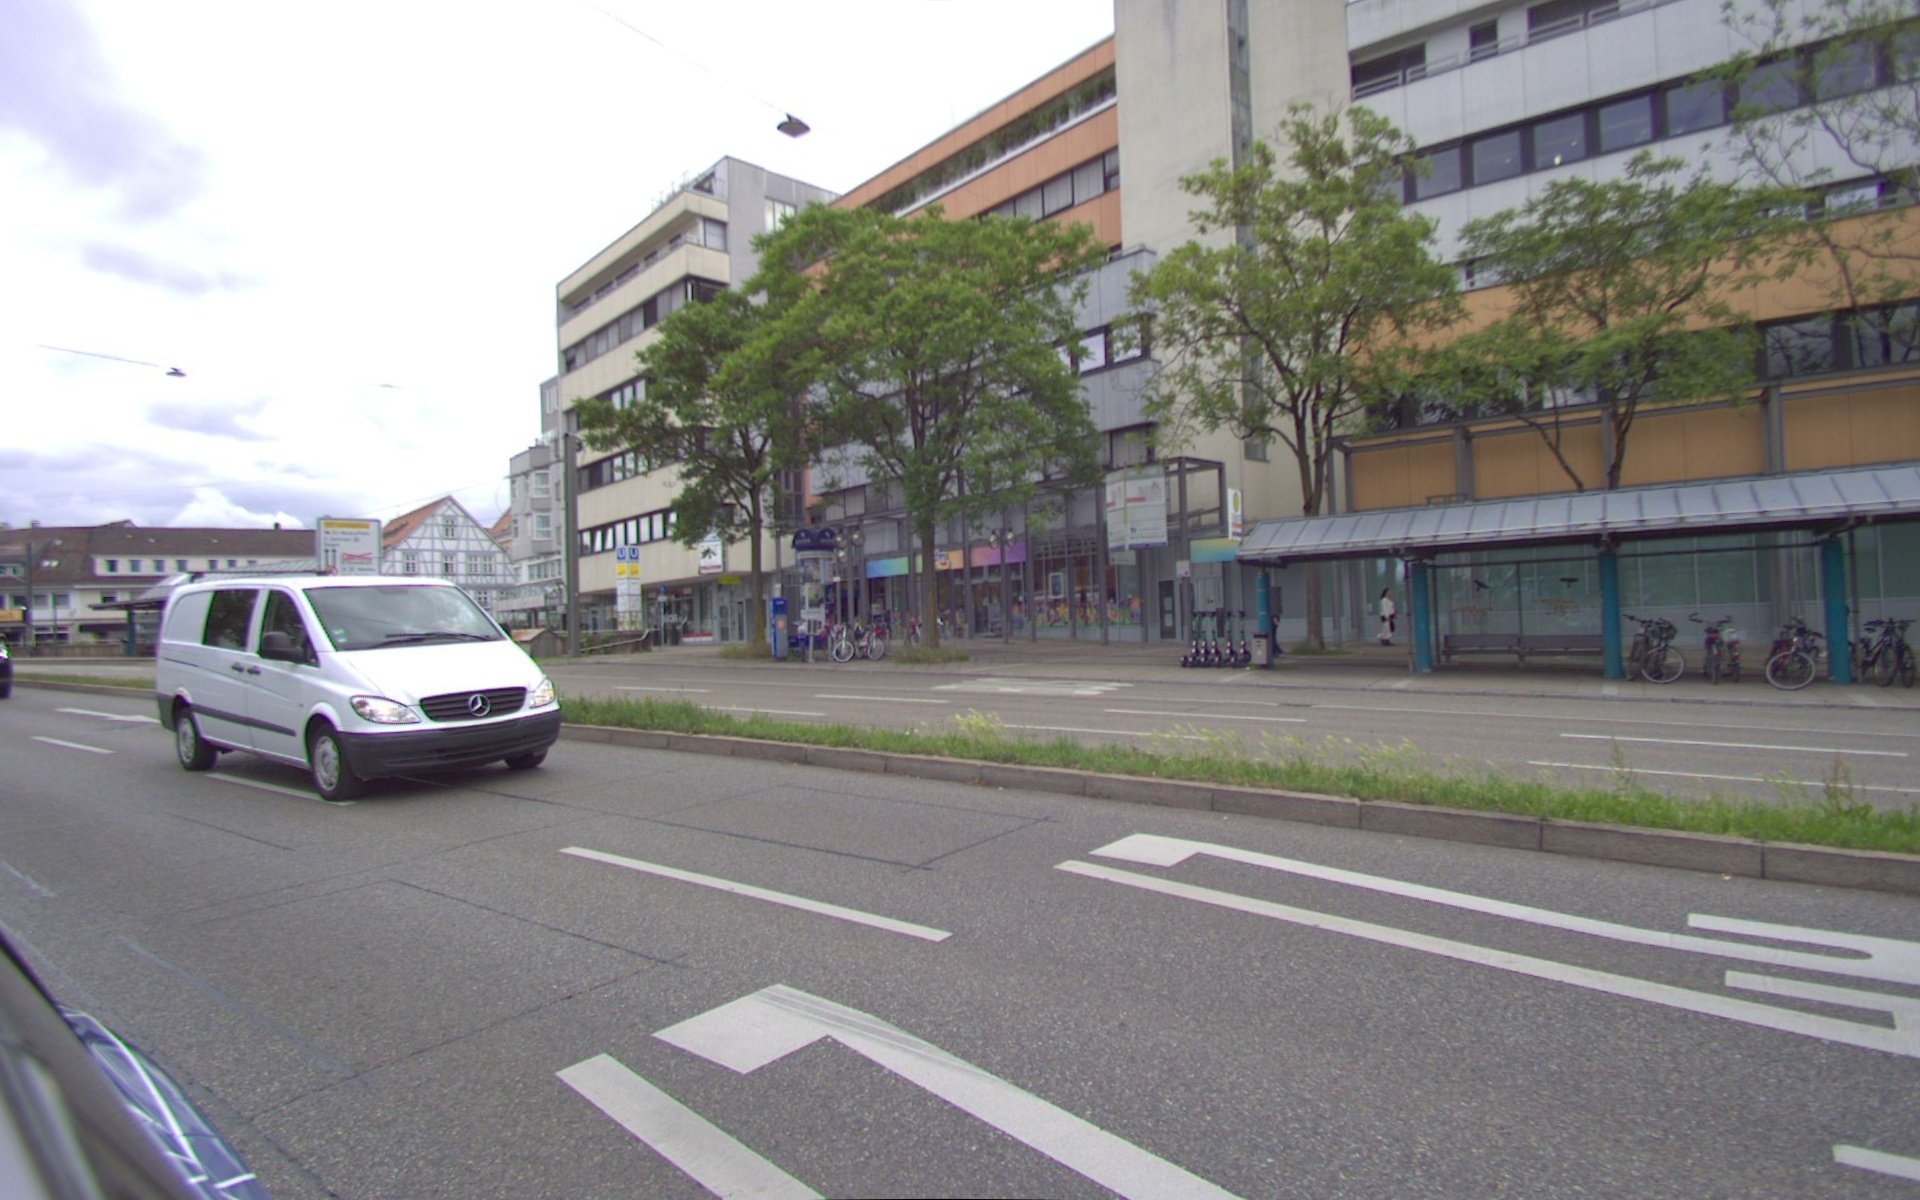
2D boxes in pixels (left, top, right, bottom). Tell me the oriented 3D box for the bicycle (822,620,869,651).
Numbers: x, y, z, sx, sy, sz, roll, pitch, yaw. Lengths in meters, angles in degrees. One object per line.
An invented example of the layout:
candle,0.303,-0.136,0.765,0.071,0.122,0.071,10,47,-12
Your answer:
bicycle,-5.127,1.570,45.311,1.941,1.329,0.707,0,-1,-34

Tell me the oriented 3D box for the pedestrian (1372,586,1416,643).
pedestrian,12.510,0.427,29.173,0.995,1.630,0.726,-2,-2,36

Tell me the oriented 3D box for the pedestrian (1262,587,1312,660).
pedestrian,8.238,0.582,25.487,0.995,1.795,0.726,-2,-2,36

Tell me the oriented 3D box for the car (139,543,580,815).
car,-5.998,0.616,9.819,5.066,2.029,1.857,-1,0,37

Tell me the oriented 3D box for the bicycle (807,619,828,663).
bicycle,-4.265,1.217,30.267,0.425,1.263,1.474,-1,-1,-15

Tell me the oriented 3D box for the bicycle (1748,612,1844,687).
bicycle,14.241,0.810,17.296,0.707,1.162,2.055,-1,0,24

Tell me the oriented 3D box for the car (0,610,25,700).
car,-21.083,1.152,20.552,4.663,1.764,1.908,-2,0,32

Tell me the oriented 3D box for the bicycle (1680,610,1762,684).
bicycle,13.666,0.816,18.238,0.707,1.162,2.055,-1,1,24

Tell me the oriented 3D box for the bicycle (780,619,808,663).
bicycle,-5.029,1.223,30.609,0.616,1.263,1.688,-1,-1,-17

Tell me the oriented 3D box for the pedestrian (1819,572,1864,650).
pedestrian,19.042,0.251,21.874,0.675,1.656,0.526,-2,-2,41

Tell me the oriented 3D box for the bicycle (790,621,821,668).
bicycle,-4.340,1.227,28.364,0.616,1.263,1.689,-1,-1,-17

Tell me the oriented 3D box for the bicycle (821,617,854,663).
bicycle,-3.511,1.142,28.987,0.616,1.263,1.689,-1,-1,-17

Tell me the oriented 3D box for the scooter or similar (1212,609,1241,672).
scooter or similar,6.159,0.917,23.352,0.259,1.434,1.192,-2,-1,32

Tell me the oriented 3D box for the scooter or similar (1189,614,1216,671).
scooter or similar,5.656,0.979,23.568,0.267,1.305,1.119,-2,-1,32

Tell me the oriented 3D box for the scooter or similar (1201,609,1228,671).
scooter or similar,5.905,0.912,23.455,0.221,1.395,1.192,-2,-1,32

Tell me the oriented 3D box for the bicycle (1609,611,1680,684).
bicycle,12.620,0.847,18.720,0.707,1.162,2.055,-2,1,24

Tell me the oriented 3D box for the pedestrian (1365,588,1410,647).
pedestrian,12.029,0.495,28.471,0.995,1.630,0.726,-2,-2,36

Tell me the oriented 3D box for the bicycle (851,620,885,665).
bicycle,-2.676,1.211,29.373,0.616,1.263,1.689,-1,-1,-17

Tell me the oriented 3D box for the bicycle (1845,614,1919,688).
bicycle,15.597,0.817,16.832,0.707,1.162,2.054,-1,-1,24

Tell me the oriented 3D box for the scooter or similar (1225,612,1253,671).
scooter or similar,6.406,0.937,23.185,0.259,1.330,1.192,-2,-1,32

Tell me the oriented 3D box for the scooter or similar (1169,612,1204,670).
scooter or similar,5.326,0.947,23.722,0.338,1.279,1.311,-2,0,32
